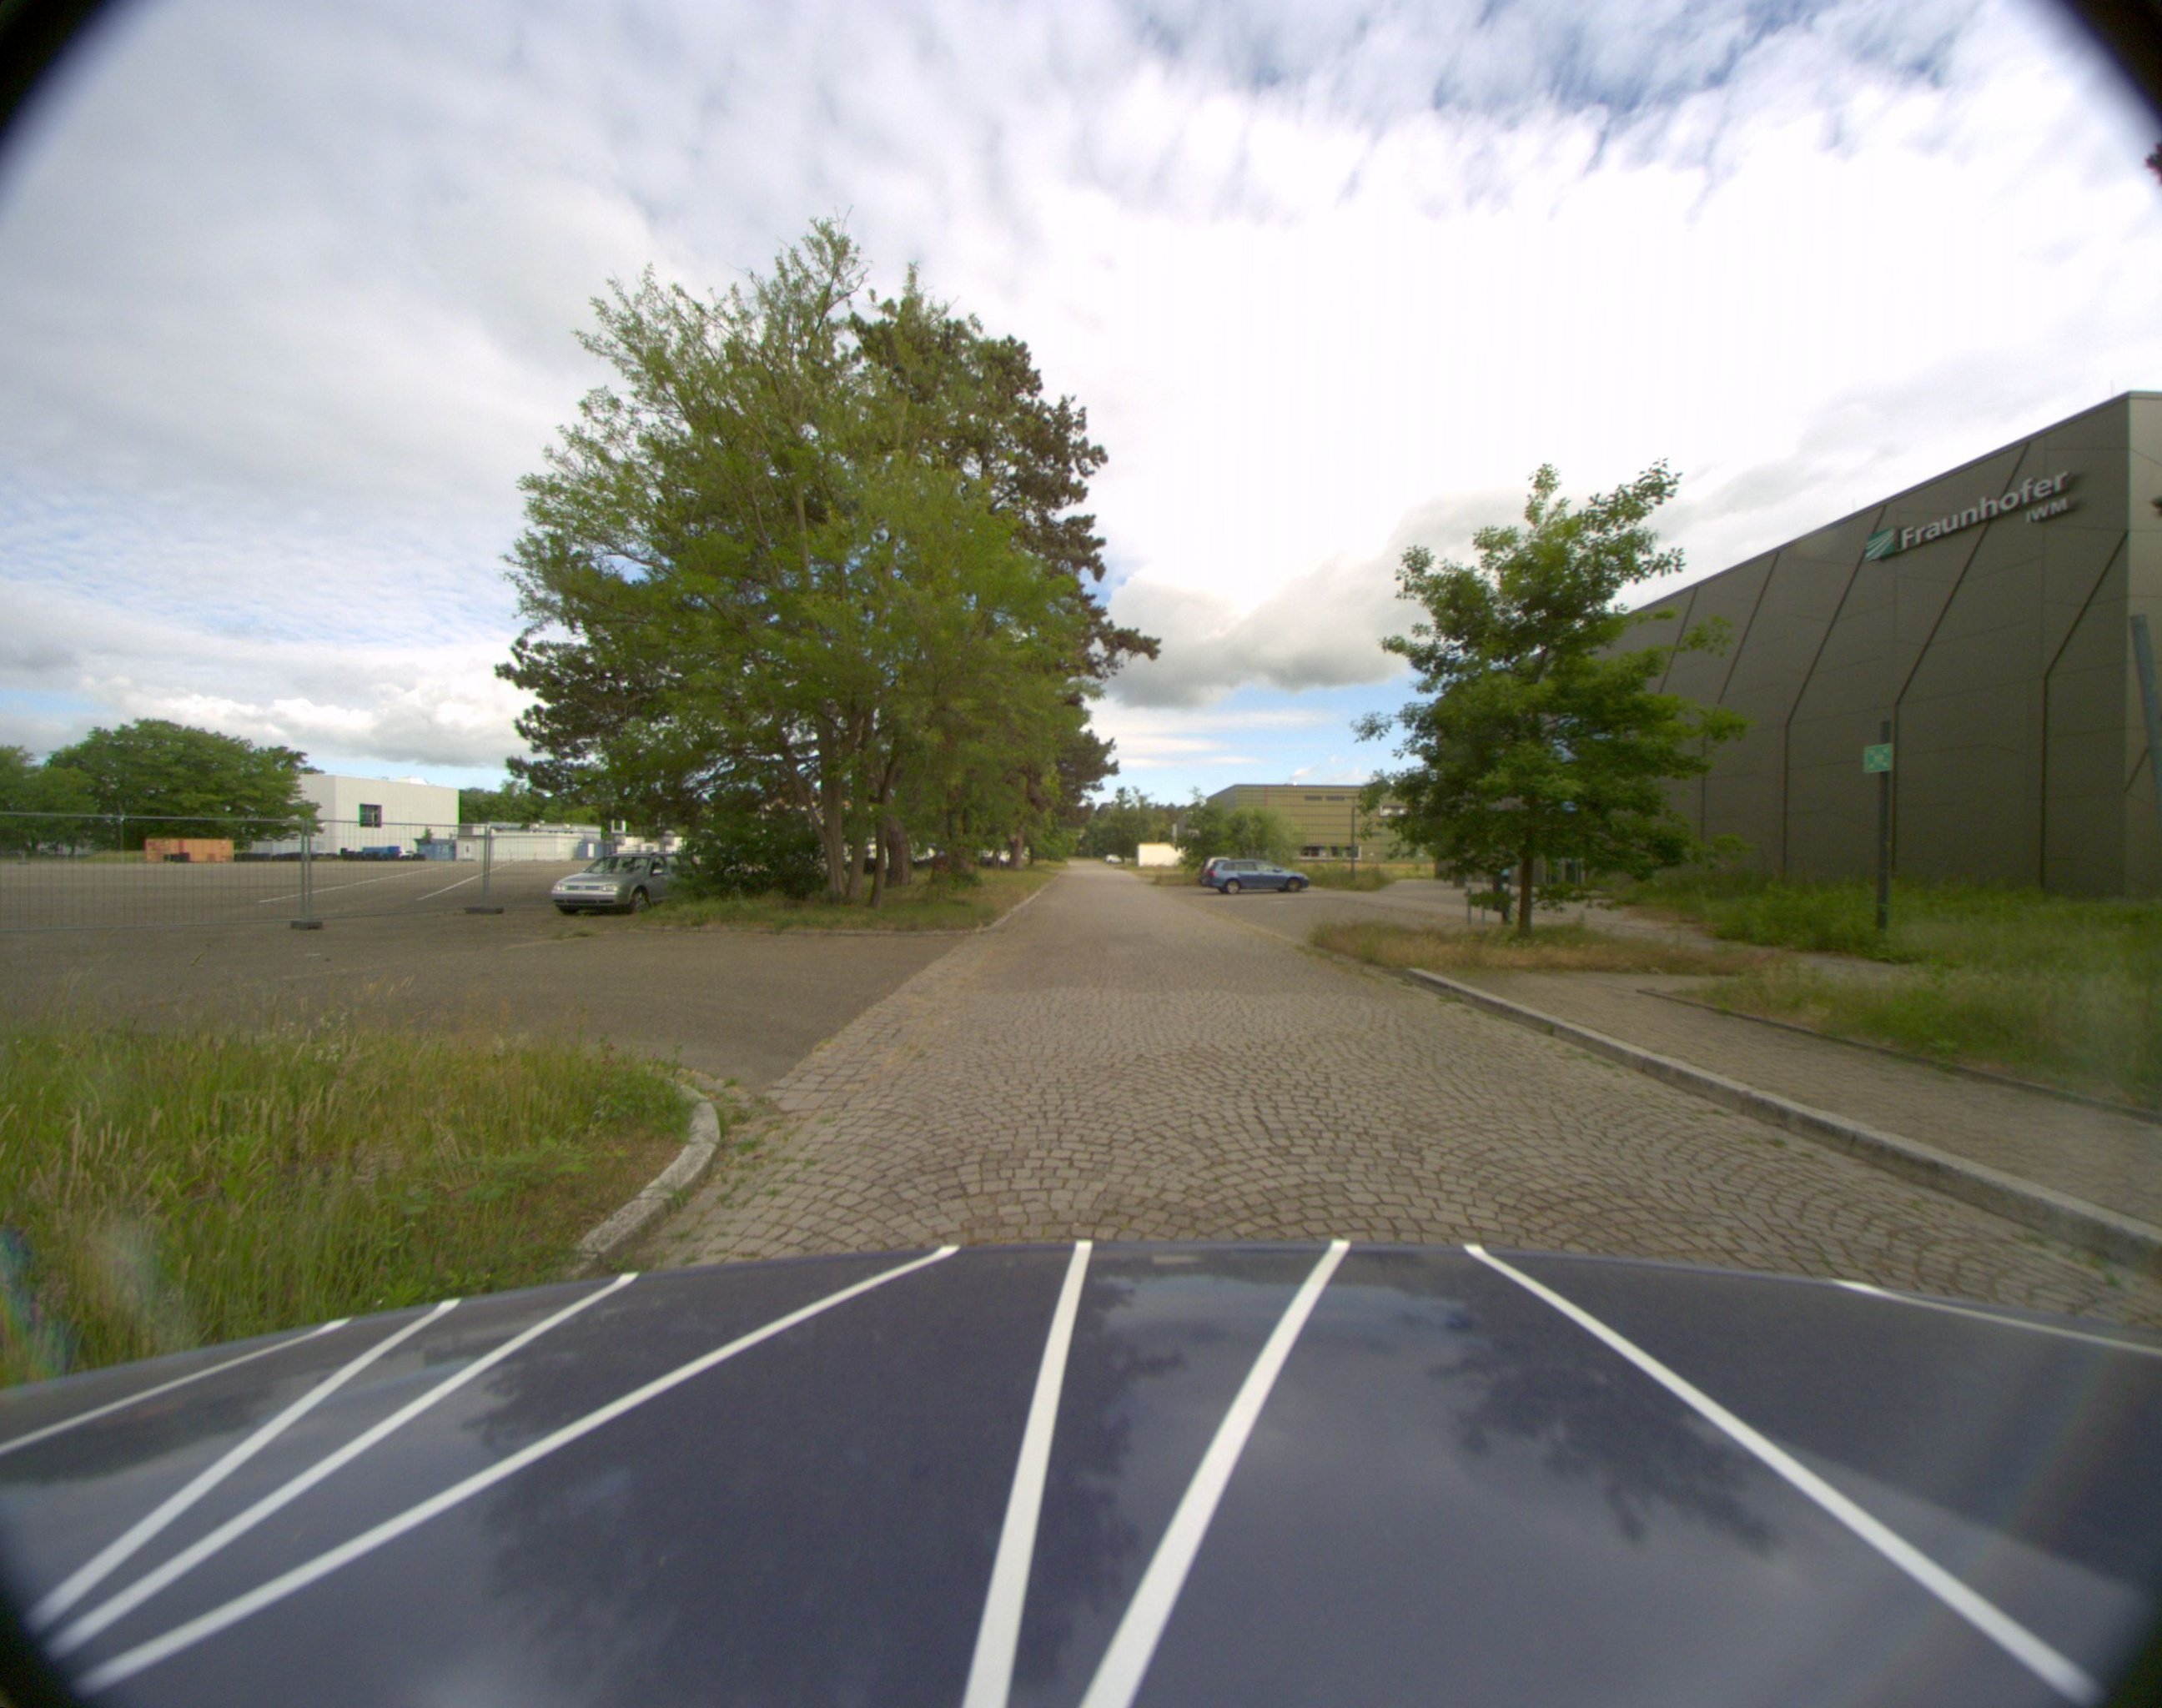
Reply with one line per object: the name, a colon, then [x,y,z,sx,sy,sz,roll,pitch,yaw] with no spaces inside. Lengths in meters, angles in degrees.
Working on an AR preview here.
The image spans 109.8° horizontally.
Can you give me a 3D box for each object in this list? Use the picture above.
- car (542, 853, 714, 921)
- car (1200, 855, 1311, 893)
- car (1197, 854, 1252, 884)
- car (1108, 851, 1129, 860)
car: [-10.963,0.705,18.811,1.678,1.442,4.488,0,1,-2]
car: [7.579,0.865,33.184,4.427,1.461,1.633,-2,1,-2]
car: [7.633,0.790,40.553,2.584,1.521,1.500,-2,1,-2]
car: [7.550,0.335,152.986,4.062,1.767,1.792,0,1,0]
